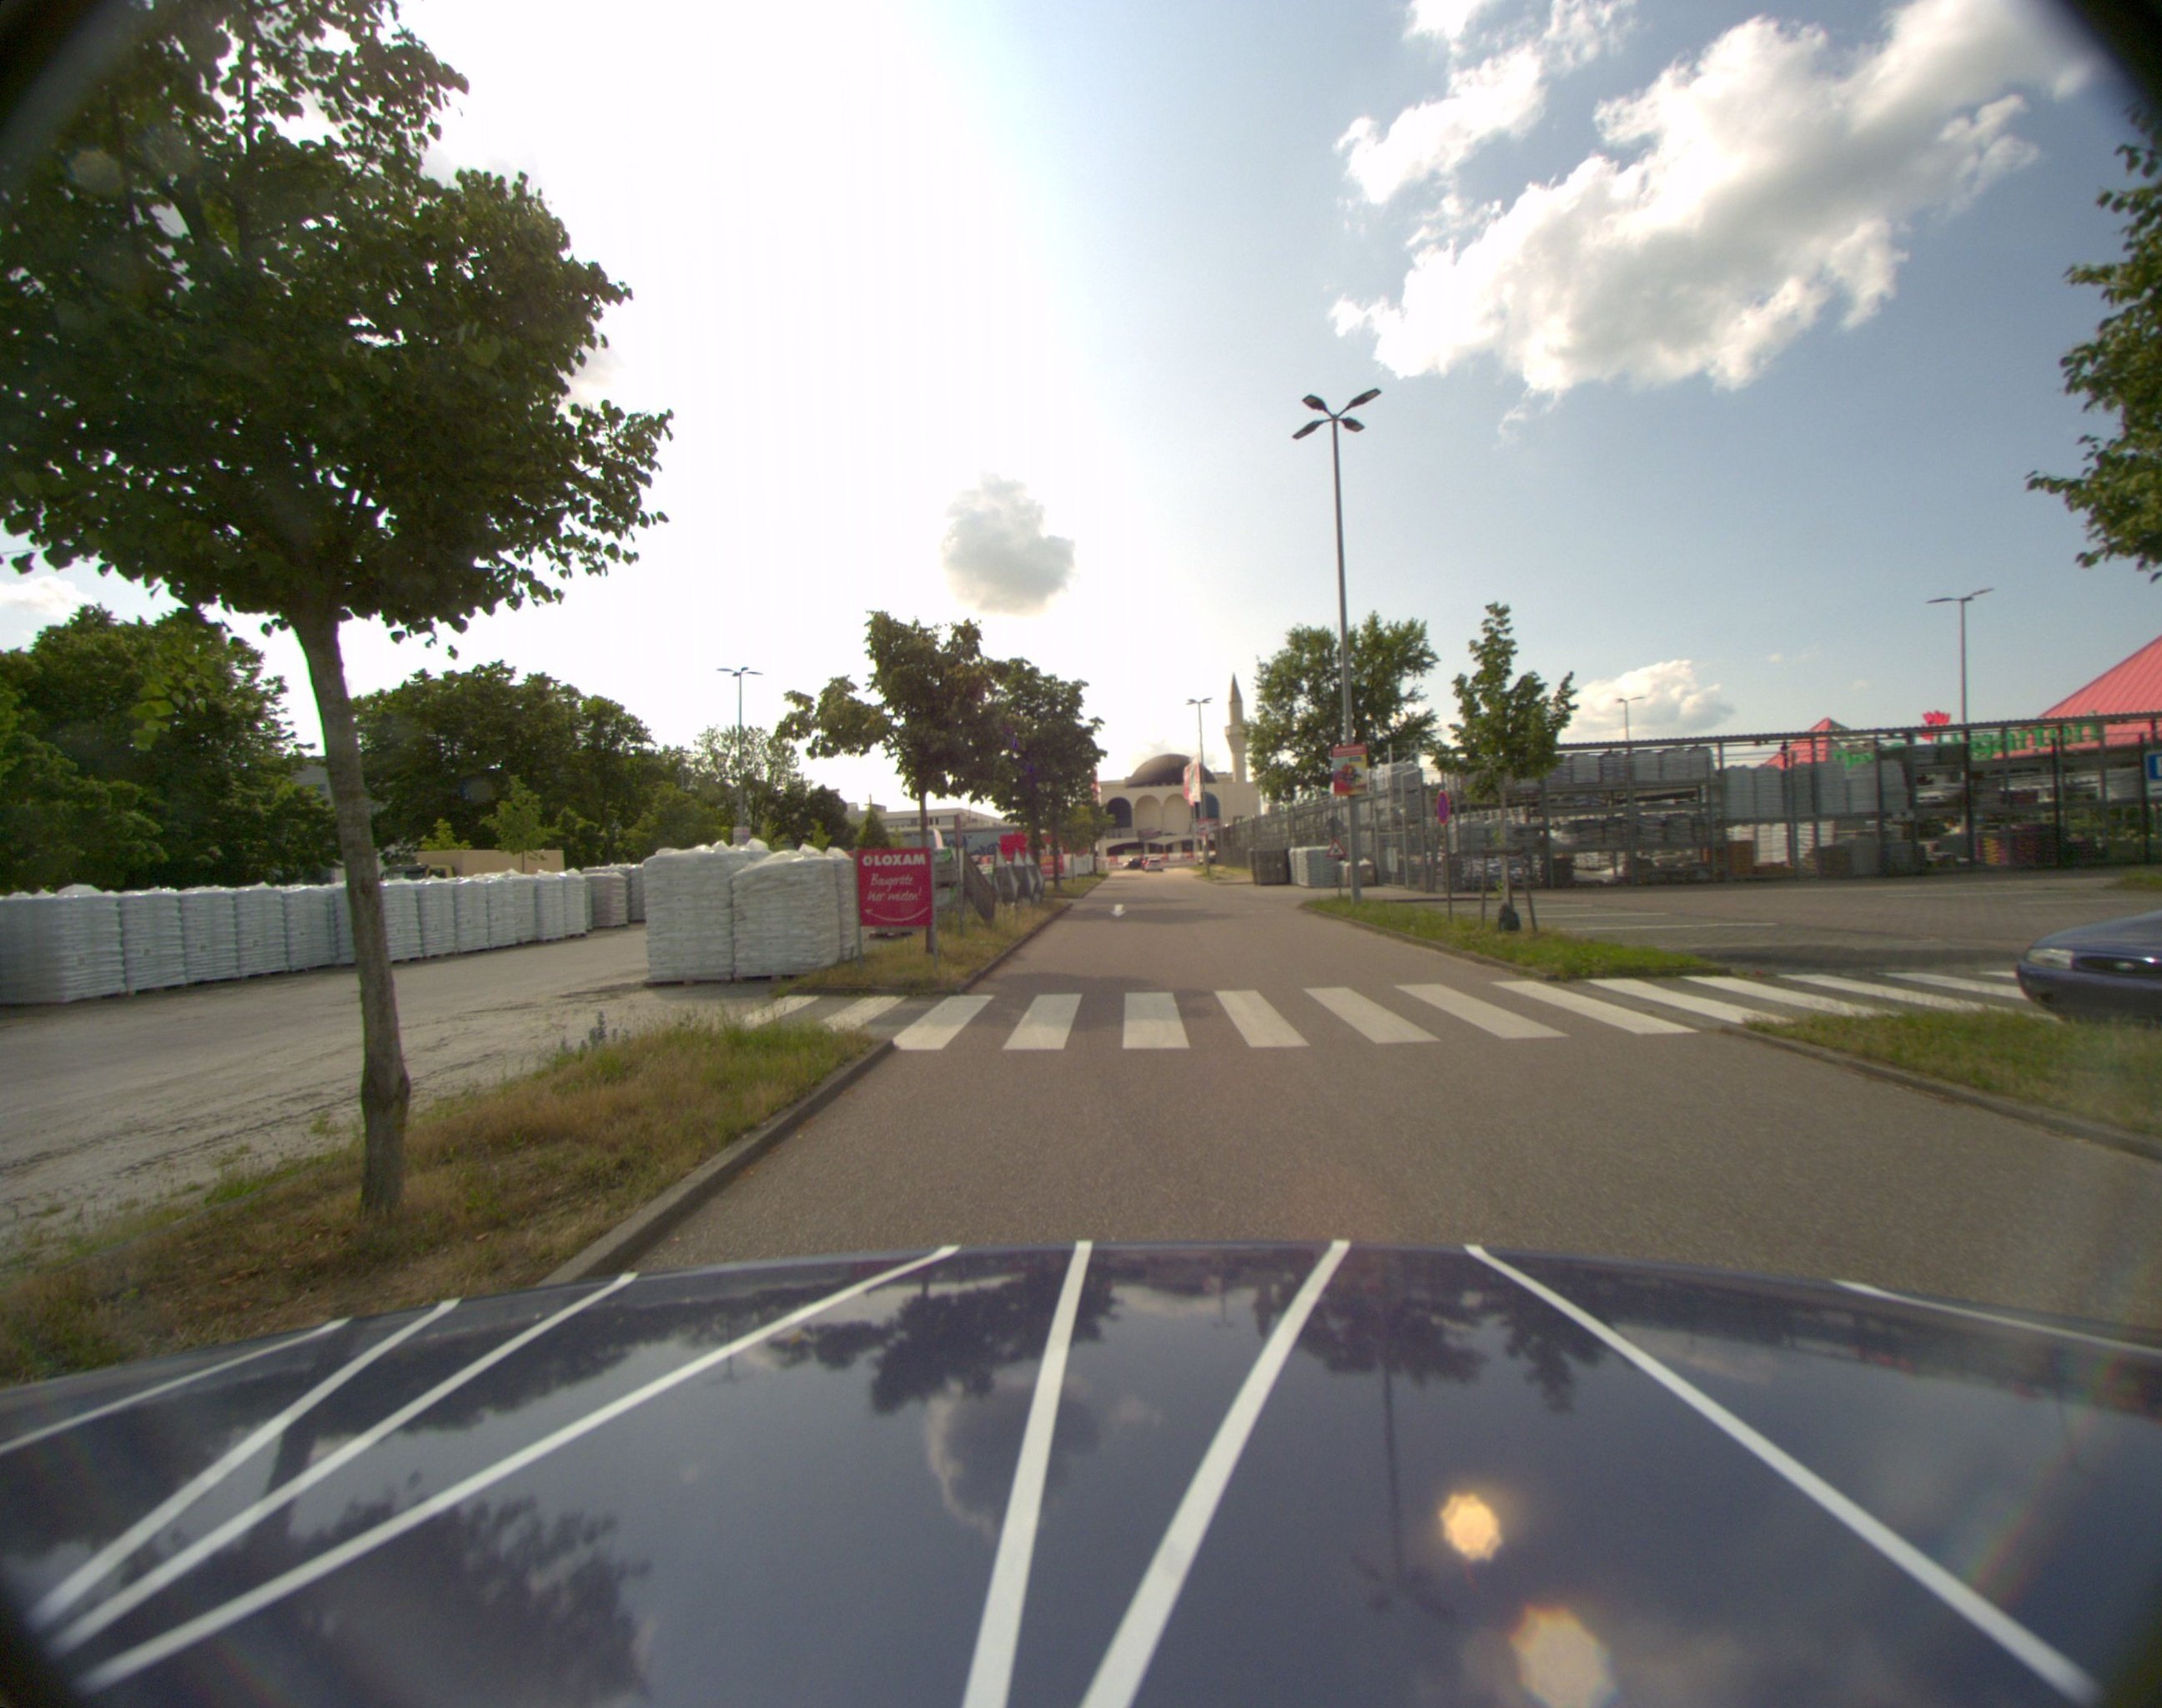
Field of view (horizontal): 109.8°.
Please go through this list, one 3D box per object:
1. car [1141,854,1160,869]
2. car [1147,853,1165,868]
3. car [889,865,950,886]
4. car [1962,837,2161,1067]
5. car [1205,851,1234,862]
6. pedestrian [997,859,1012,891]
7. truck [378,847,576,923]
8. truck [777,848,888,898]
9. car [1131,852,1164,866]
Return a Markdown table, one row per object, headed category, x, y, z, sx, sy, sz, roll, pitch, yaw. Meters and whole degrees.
| category | x | y | z | sx | sy | sz | roll | pitch | yaw |
| --- | --- | --- | --- | --- | --- | --- | --- | --- | --- |
| car | 7.995 | 0.816 | 87.689 | 1.919 | 1.608 | 4.375 | -2 | -1 | 3 |
| car | 7.897 | 0.707 | 80.452 | 1.807 | 1.456 | 4.330 | -3 | 0 | 5 |
| car | -11.914 | 1.587 | 56.253 | 4.143 | 1.406 | 1.618 | -2 | 1 | -2 |
| car | 8.453 | 0.534 | 4.814 | 3.759 | 1.360 | 1.621 | -3 | 0 | 2 |
| car | 18.320 | 0.313 | 100.546 | 3.706 | 1.358 | 1.652 | -2 | 0 | 6 |
| pedestrian | -4.187 | 1.140 | 41.553 | 0.599 | 1.682 | 0.879 | -2 | 1 | 6 |
| truck | -32.148 | 1.531 | 41.150 | 2.727 | 3.577 | 9.040 | -2 | 0 | 6 |
| truck | -13.815 | 1.057 | 42.481 | 5.440 | 2.500 | 2.117 | -2 | 0 | 1 |
| car | 8.564 | 0.676 | 98.123 | 3.996 | 1.636 | 1.907 | -3 | 0 | 1 |
